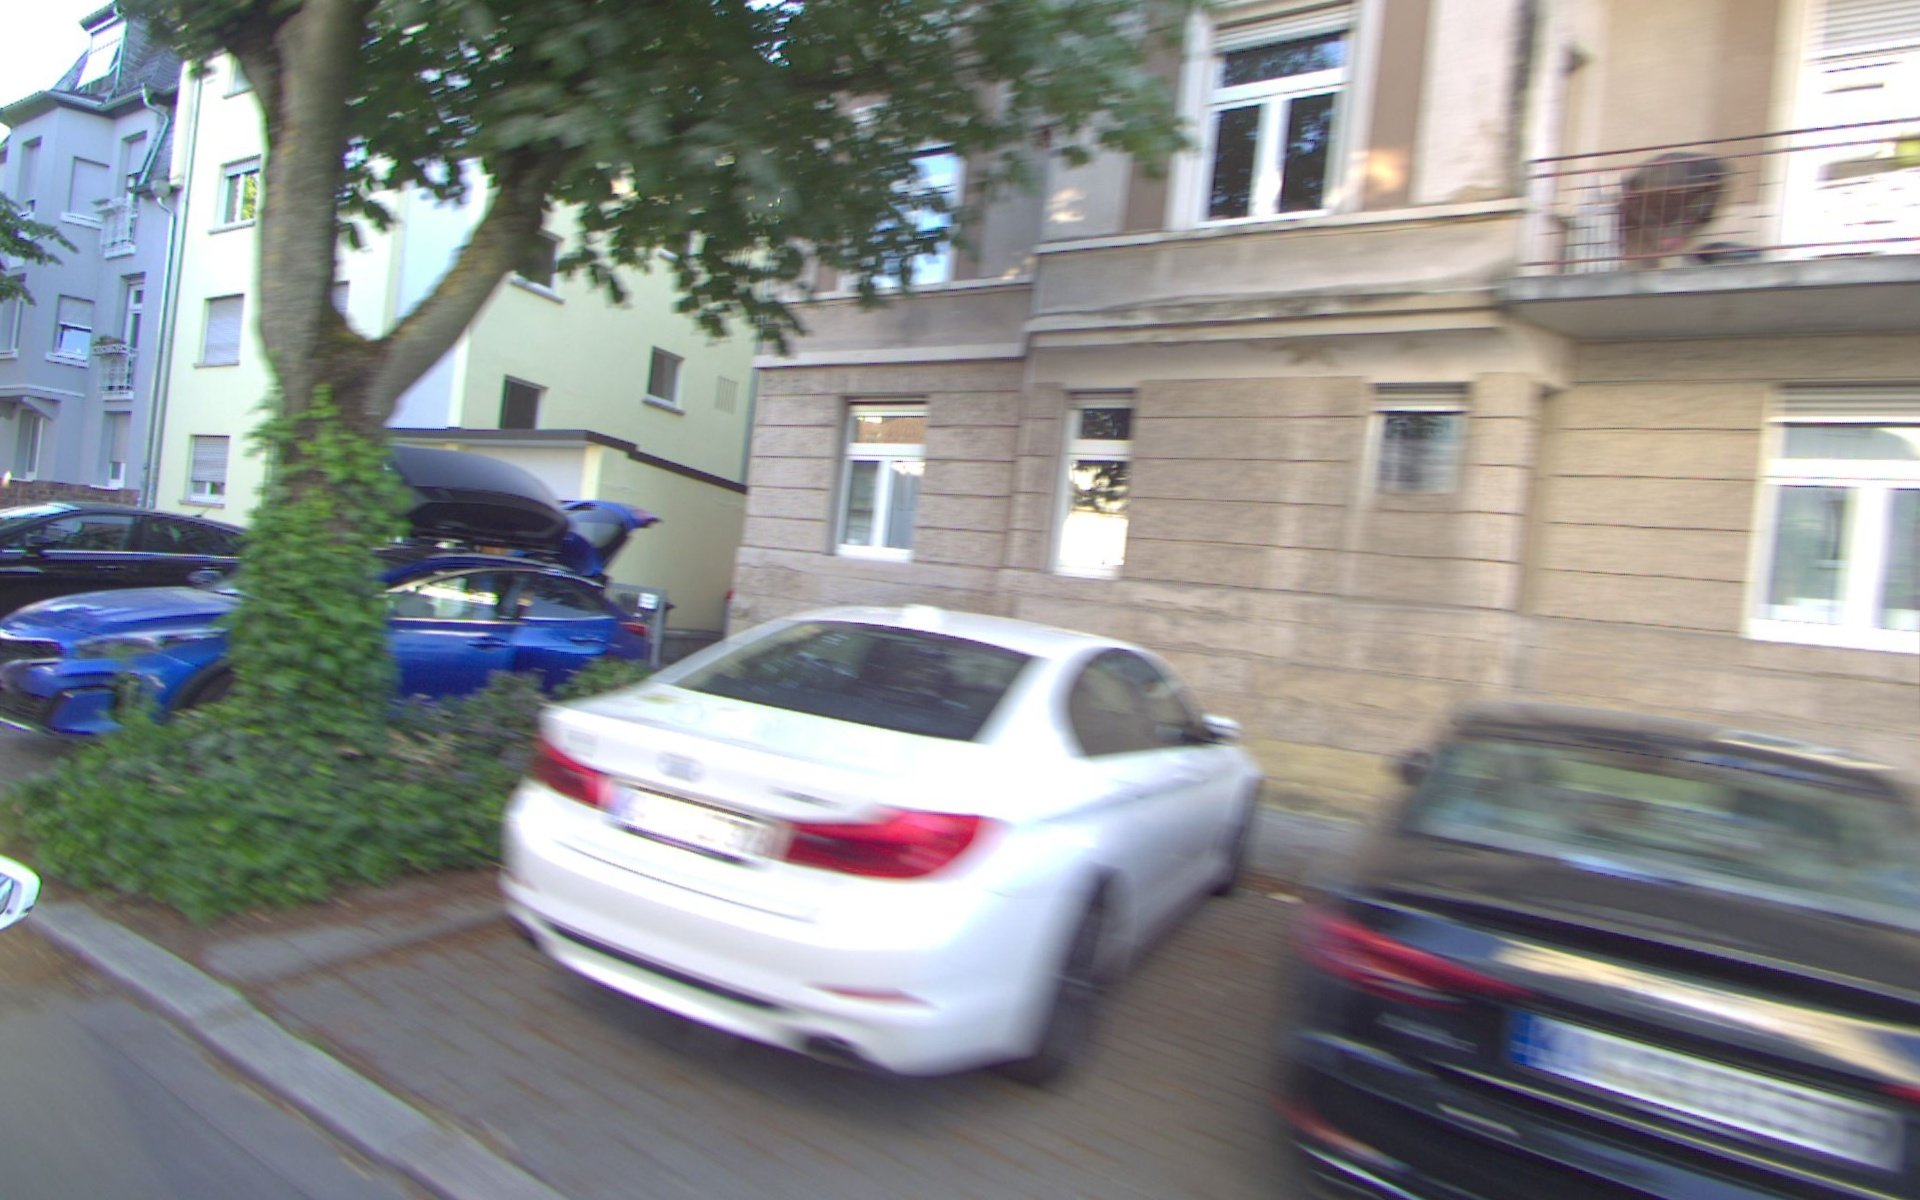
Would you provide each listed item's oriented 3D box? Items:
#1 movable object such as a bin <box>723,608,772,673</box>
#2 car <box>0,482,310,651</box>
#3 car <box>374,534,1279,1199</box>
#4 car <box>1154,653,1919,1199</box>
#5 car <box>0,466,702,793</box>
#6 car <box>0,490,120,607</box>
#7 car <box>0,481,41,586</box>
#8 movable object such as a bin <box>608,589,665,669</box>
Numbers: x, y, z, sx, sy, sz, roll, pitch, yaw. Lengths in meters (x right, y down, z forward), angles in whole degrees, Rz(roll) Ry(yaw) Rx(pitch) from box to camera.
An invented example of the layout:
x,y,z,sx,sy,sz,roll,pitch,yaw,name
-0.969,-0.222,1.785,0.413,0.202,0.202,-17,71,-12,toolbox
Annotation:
x,y,z,sx,sy,sz,roll,pitch,yaw,name
-3.503,0.667,16.582,0.523,1.010,0.456,5,-1,31,movable object such as a bin
-9.737,-0.387,10.776,1.842,1.577,4.197,6,0,30,car
0.092,0.775,4.681,1.919,1.545,4.486,8,1,25,car
2.209,1.033,3.628,1.645,1.466,4.148,6,0,30,car
-4.322,0.227,7.596,1.842,1.661,4.533,6,0,30,car
-14.744,-0.904,14.286,1.697,1.577,3.929,7,0,33,car
-16.977,-1.261,15.641,1.696,1.674,3.553,6,0,30,car
-4.721,0.425,14.676,0.523,1.099,0.456,5,-1,31,movable object such as a bin
